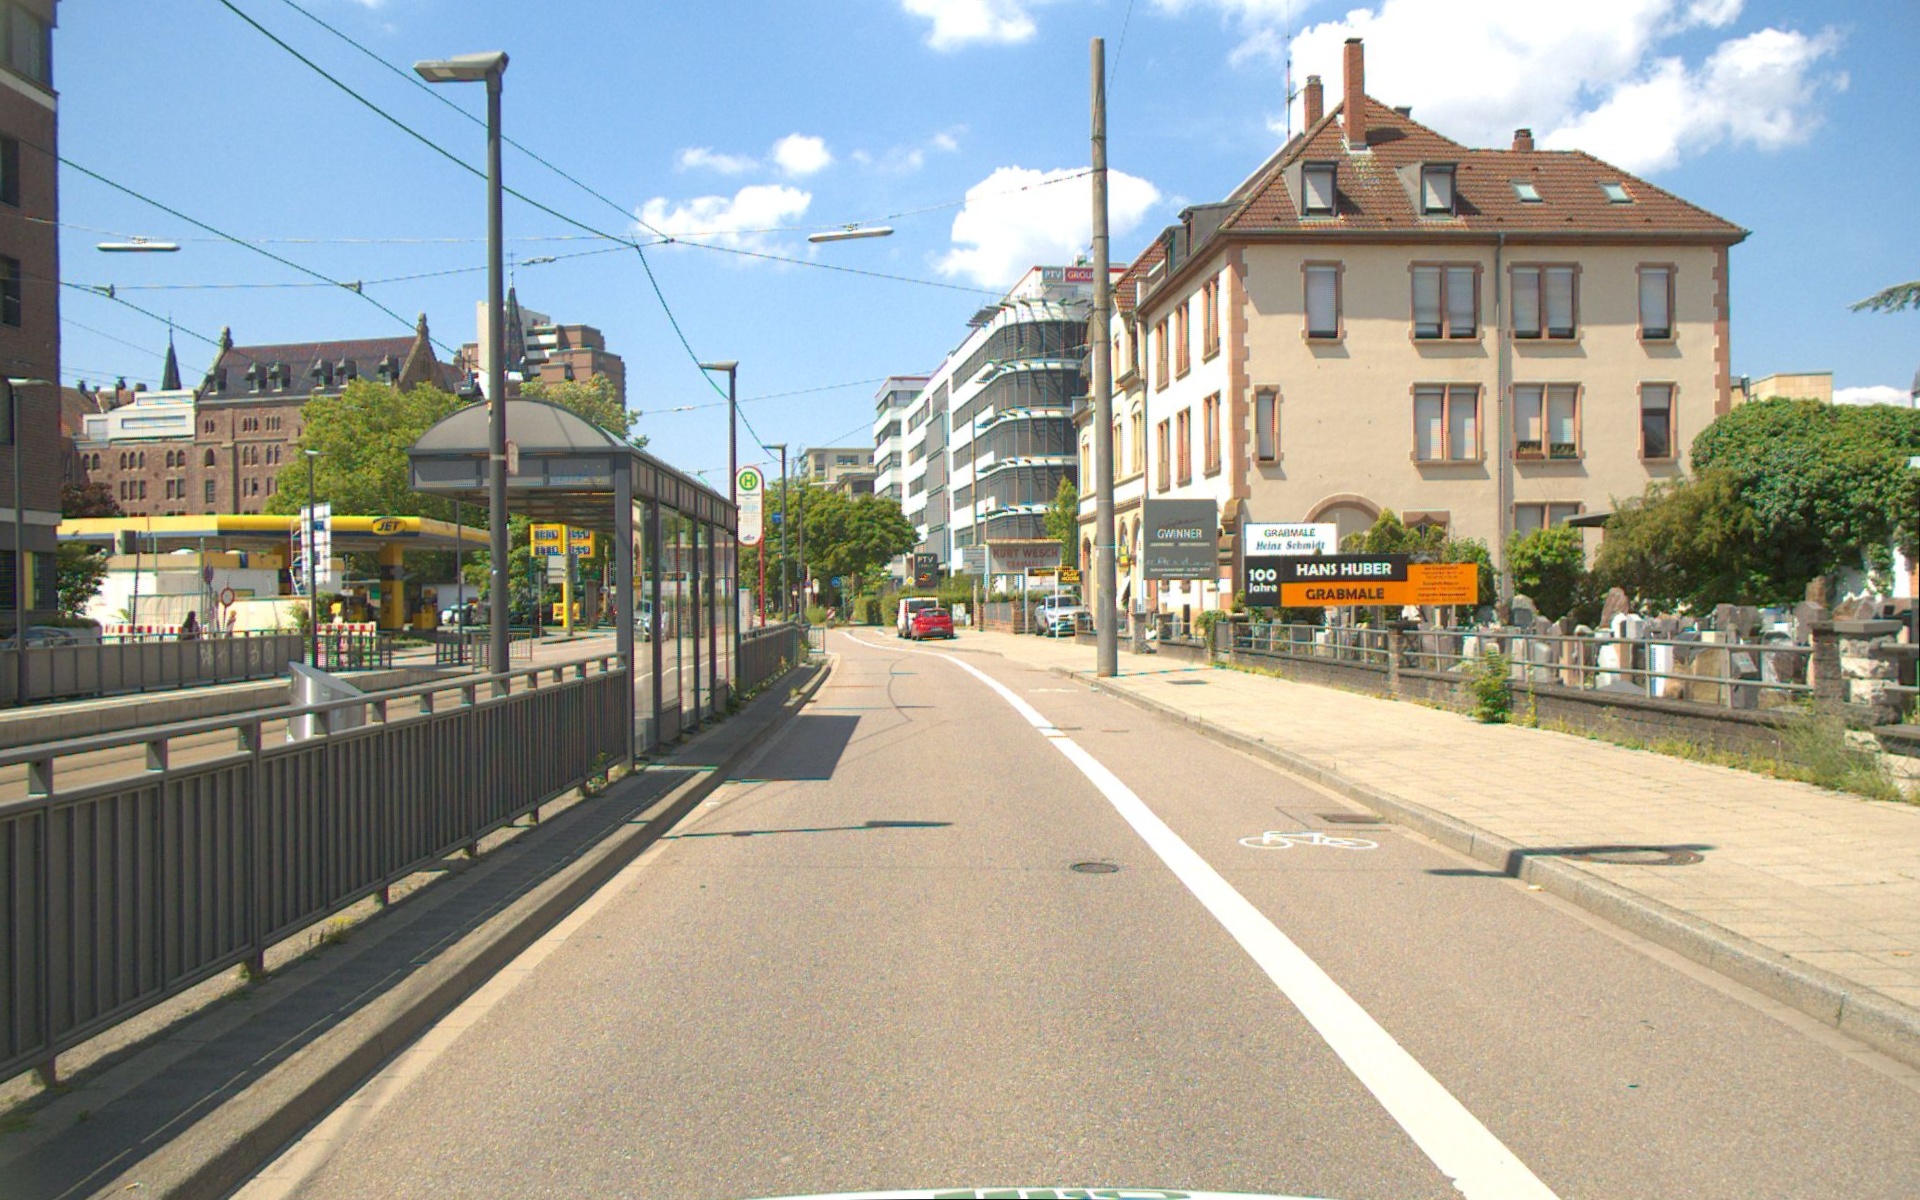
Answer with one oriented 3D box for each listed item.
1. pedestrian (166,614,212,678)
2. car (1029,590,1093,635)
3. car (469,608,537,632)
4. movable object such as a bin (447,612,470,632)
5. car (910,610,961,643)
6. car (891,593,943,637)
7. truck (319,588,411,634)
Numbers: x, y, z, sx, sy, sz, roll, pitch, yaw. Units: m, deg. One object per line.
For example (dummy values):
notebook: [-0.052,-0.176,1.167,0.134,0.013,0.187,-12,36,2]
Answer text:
pedestrian: [-20.494,1.214,43.989,0.745,1.624,0.999,3,-1,-6]
car: [4.066,0.492,67.305,1.842,1.652,4.633,-3,0,-6]
car: [-31.868,1.375,115.509,1.960,1.618,4.318,-1,0,35]
movable object such as a bin: [-34.940,1.548,115.285,1.316,1.378,0.758,-1,-1,3]
car: [-1.167,1.211,76.917,1.955,1.467,4.011,-1,0,-7]
car: [-2.220,0.747,83.707,1.956,2.026,5.504,-3,0,-8]
truck: [-33.724,0.623,93.886,1.953,2.542,5.203,-1,-1,22]
